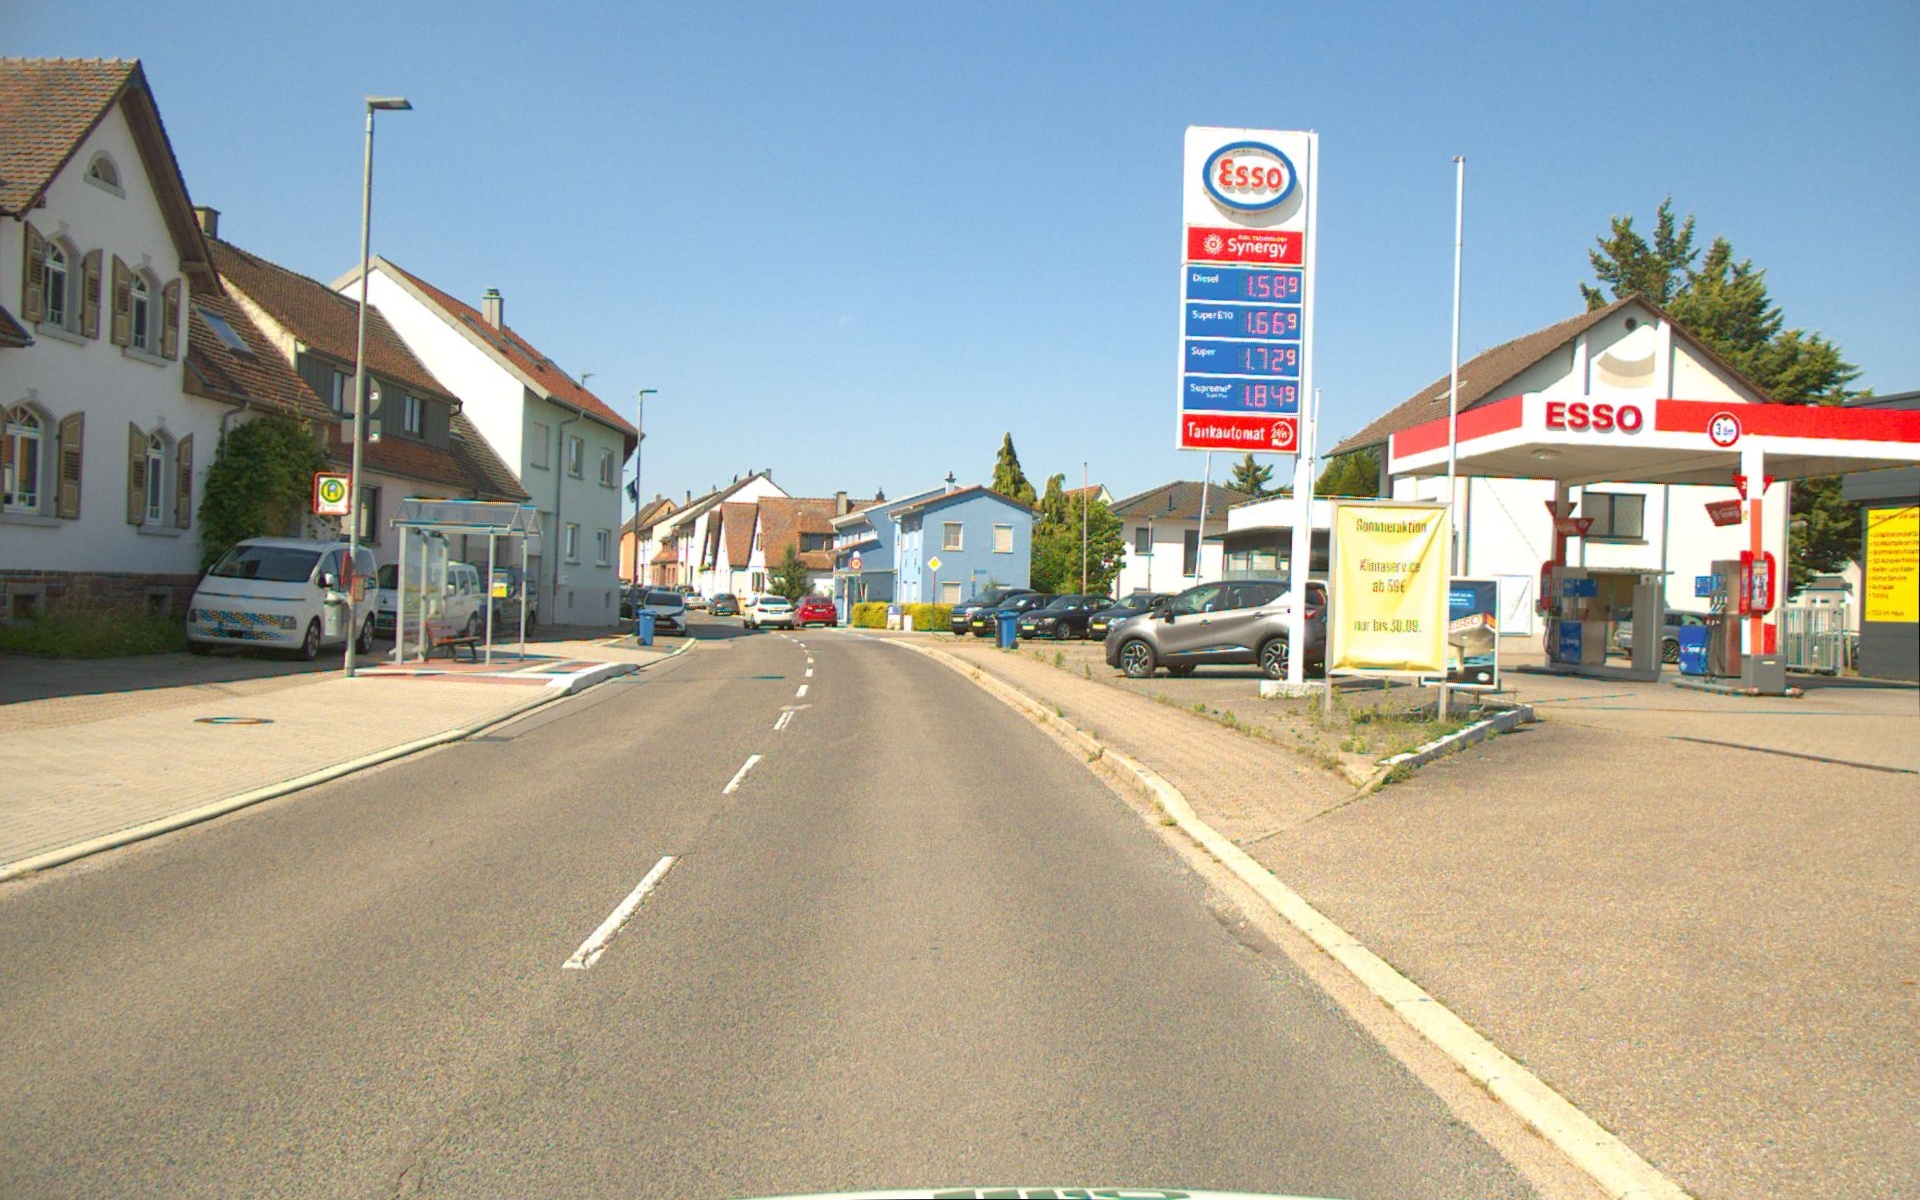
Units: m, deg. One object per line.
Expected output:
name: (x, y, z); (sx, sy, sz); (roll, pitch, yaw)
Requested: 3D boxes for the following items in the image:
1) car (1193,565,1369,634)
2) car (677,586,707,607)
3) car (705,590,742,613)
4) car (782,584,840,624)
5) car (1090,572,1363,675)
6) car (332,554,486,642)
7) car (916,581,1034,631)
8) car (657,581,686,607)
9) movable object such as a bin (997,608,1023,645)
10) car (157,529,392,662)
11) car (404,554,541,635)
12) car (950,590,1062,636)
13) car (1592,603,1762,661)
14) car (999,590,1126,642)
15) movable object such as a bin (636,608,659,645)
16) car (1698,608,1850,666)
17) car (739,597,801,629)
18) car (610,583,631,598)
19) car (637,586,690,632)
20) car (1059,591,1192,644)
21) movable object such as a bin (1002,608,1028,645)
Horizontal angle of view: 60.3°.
car: (9.973, 0.004, 51.305); (5.214, 2.049, 2.209); (1, 0, -31)
car: (-20.316, -0.272, 125.399); (1.678, 1.523, 3.434); (3, 0, -19)
car: (-15.663, 0.093, 109.333); (1.678, 1.458, 3.869); (3, 0, -19)
car: (-7.116, 0.167, 78.758); (1.707, 1.520, 4.332); (0, 5, -20)
car: (4.372, 0.396, 27.295); (4.094, 1.582, 1.769); (-1, -1, 33)
car: (-12.409, -0.018, 37.549); (1.927, 1.805, 4.277); (2, -1, 1)
car: (0.548, 0.215, 58.306); (4.082, 1.682, 1.802); (1, 0, -44)
car: (-22.674, -0.474, 129.939); (1.624, 1.943, 3.606); (2, 0, -19)
movable object such as a bin: (1.315, 0.702, 43.646); (0.548, 0.953, 0.513); (1, 0, -14)
car: (-11.734, -0.048, 28.778); (2.084, 2.021, 5.261); (2, -1, -3)
car: (-12.325, -0.124, 42.104); (1.798, 1.824, 4.345); (4, 0, 4)
car: (1.581, 0.429, 55.823); (1.720, 1.472, 3.850); (1, 0, 42)
car: (19.898, 0.886, 45.953); (3.985, 1.505, 1.808); (1, 0, -8)
car: (3.348, 0.515, 53.523); (1.949, 1.593, 4.214); (1, 0, 42)
movable object such as a bin: (-8.412, 0.713, 44.536); (0.548, 0.953, 0.513); (3, -1, -14)
car: (25.023, 1.136, 51.001); (3.978, 1.505, 1.811); (3, -1, 21)
car: (-8.426, 0.561, 72.970); (1.963, 1.311, 3.979); (1, 0, -18)
car: (-34.027, -0.980, 165.652); (1.739, 1.458, 3.433); (1, 0, -17)
car: (-10.177, 0.306, 56.812); (1.653, 1.487, 3.640); (2, -1, -10)
car: (5.256, 0.532, 52.192); (1.951, 1.578, 4.288); (1, 0, 44)
movable object such as a bin: (1.435, 0.681, 43.093); (0.548, 0.955, 0.513); (1, 0, -14)
